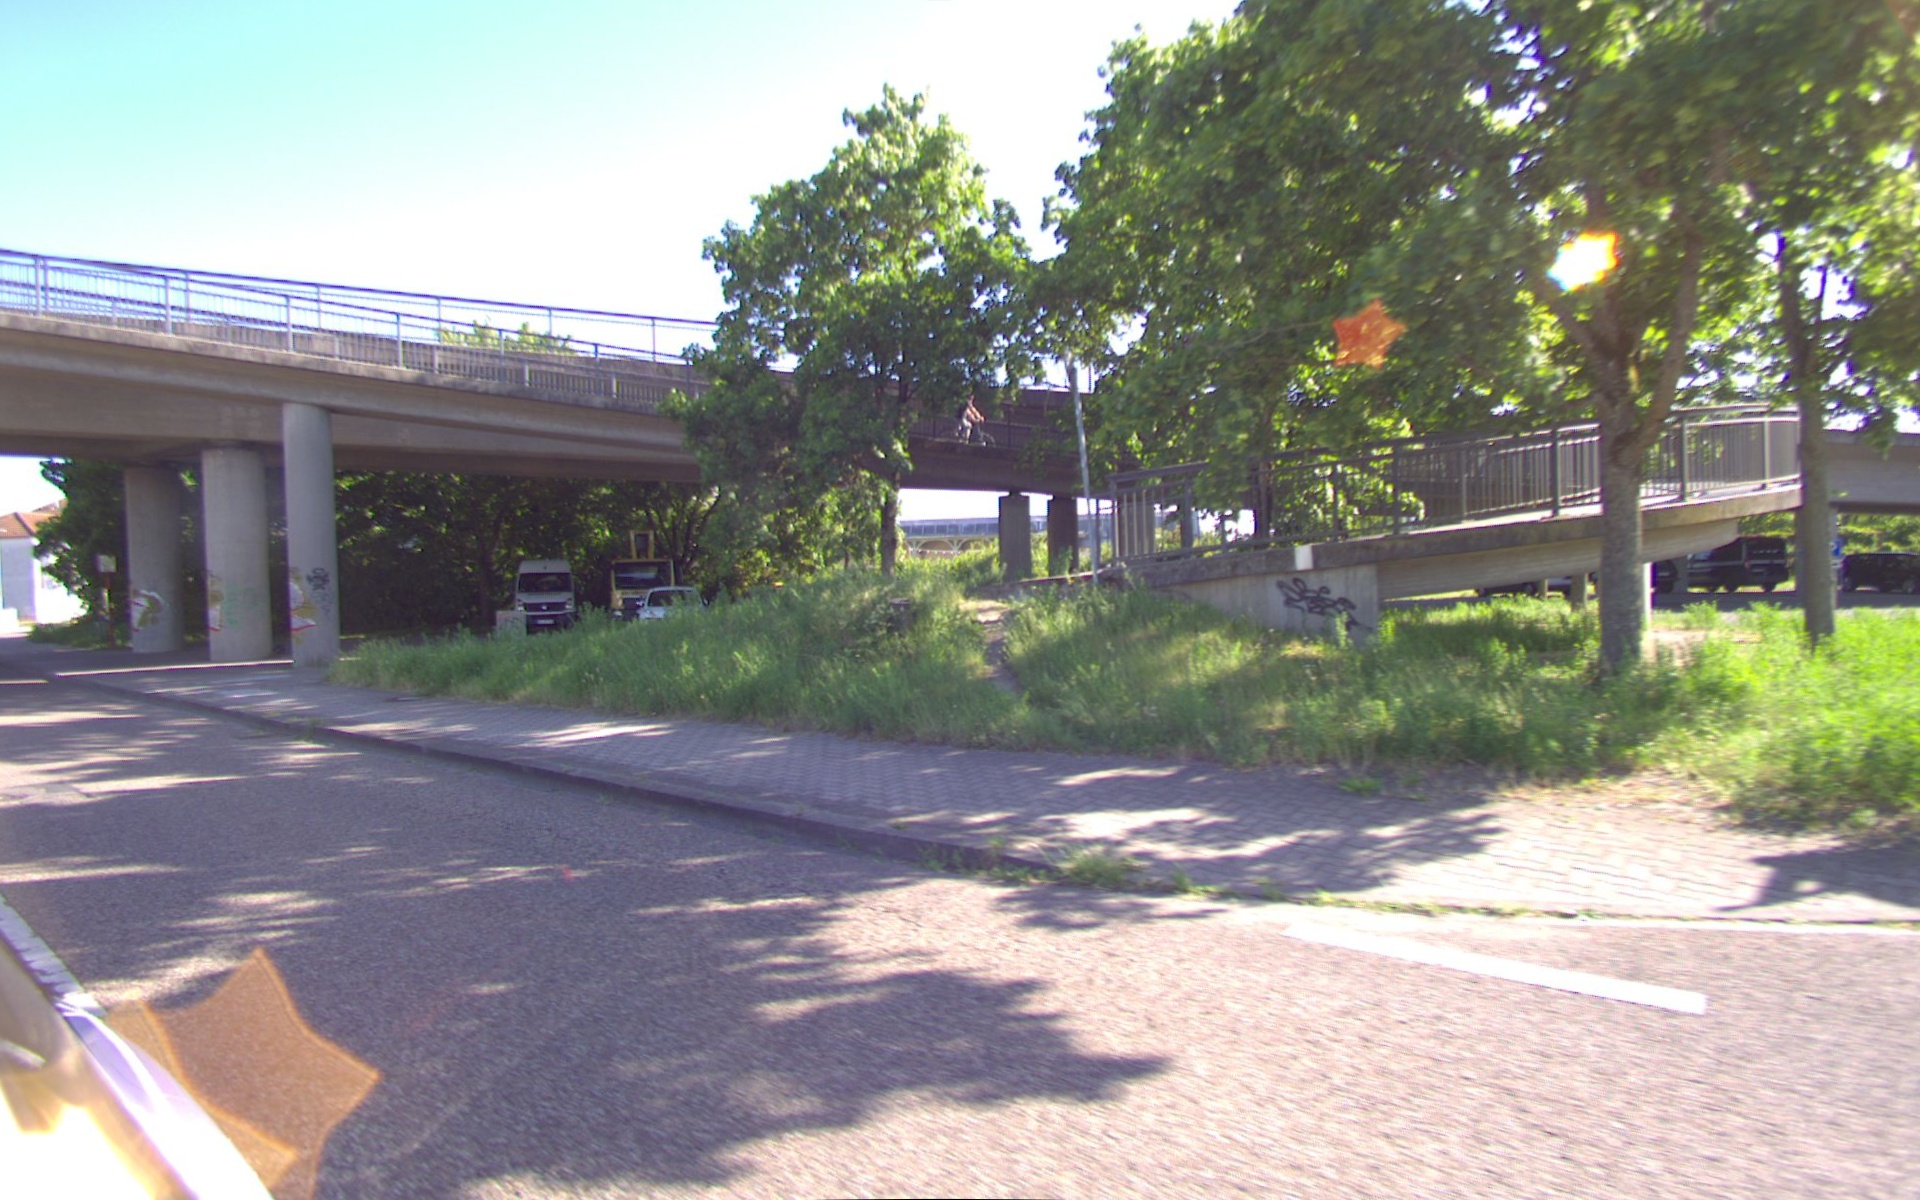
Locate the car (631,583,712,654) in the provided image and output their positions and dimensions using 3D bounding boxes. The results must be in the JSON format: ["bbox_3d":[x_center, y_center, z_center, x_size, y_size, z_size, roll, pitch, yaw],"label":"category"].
[{"bbox_3d":[-7.481,0.478,26.225,1.837,1.654,4.294,1,-1,-16],"label":"car"}]

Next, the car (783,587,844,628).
[{"bbox_3d":[-5.715,0.247,39.098,1.711,1.453,4.263,-2,1,-16],"label":"car"}]

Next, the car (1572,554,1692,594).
[{"bbox_3d":[30.137,-1.127,45.542,1.968,1.656,4.493,-2,1,-8],"label":"car"}]

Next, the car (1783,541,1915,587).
[{"bbox_3d":[46.569,-1.856,53.100,5.056,2.217,2.062,-1,1,0],"label":"car"}]

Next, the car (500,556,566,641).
[{"bbox_3d":[-14.961,-0.015,35.734,1.913,2.702,6.029,-2,0,-21],"label":"car"}]

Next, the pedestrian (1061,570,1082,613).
[{"bbox_3d":[4.394,-0.349,39.928,0.663,1.675,0.706,-1,1,18],"label":"pedestrian"}]

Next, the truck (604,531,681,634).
[{"bbox_3d":[-12.176,-0.652,39.350,2.441,3.578,7.990,-2,1,-15],"label":"truck"}]

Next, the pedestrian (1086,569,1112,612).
[{"bbox_3d":[5.457,-0.372,39.763,0.658,1.675,0.711,-2,1,-39],"label":"pedestrian"}]

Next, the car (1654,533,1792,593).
[{"bbox_3d":[34.200,-1.610,45.589,1.970,2.492,5.208,-1,1,-4],"label":"car"}]

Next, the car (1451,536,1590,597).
[{"bbox_3d":[25.166,-1.435,45.834,1.968,2.525,6.417,-2,1,-8],"label":"car"}]

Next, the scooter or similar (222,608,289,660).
[{"bbox_3d":[-18.648,0.884,26.808,1.288,1.310,0.580,-2,1,-10],"label":"scooter or similar"}]

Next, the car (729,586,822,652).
[{"bbox_3d":[-4.990,0.458,26.919,1.654,1.564,4.312,-1,1,-21],"label":"car"}]
